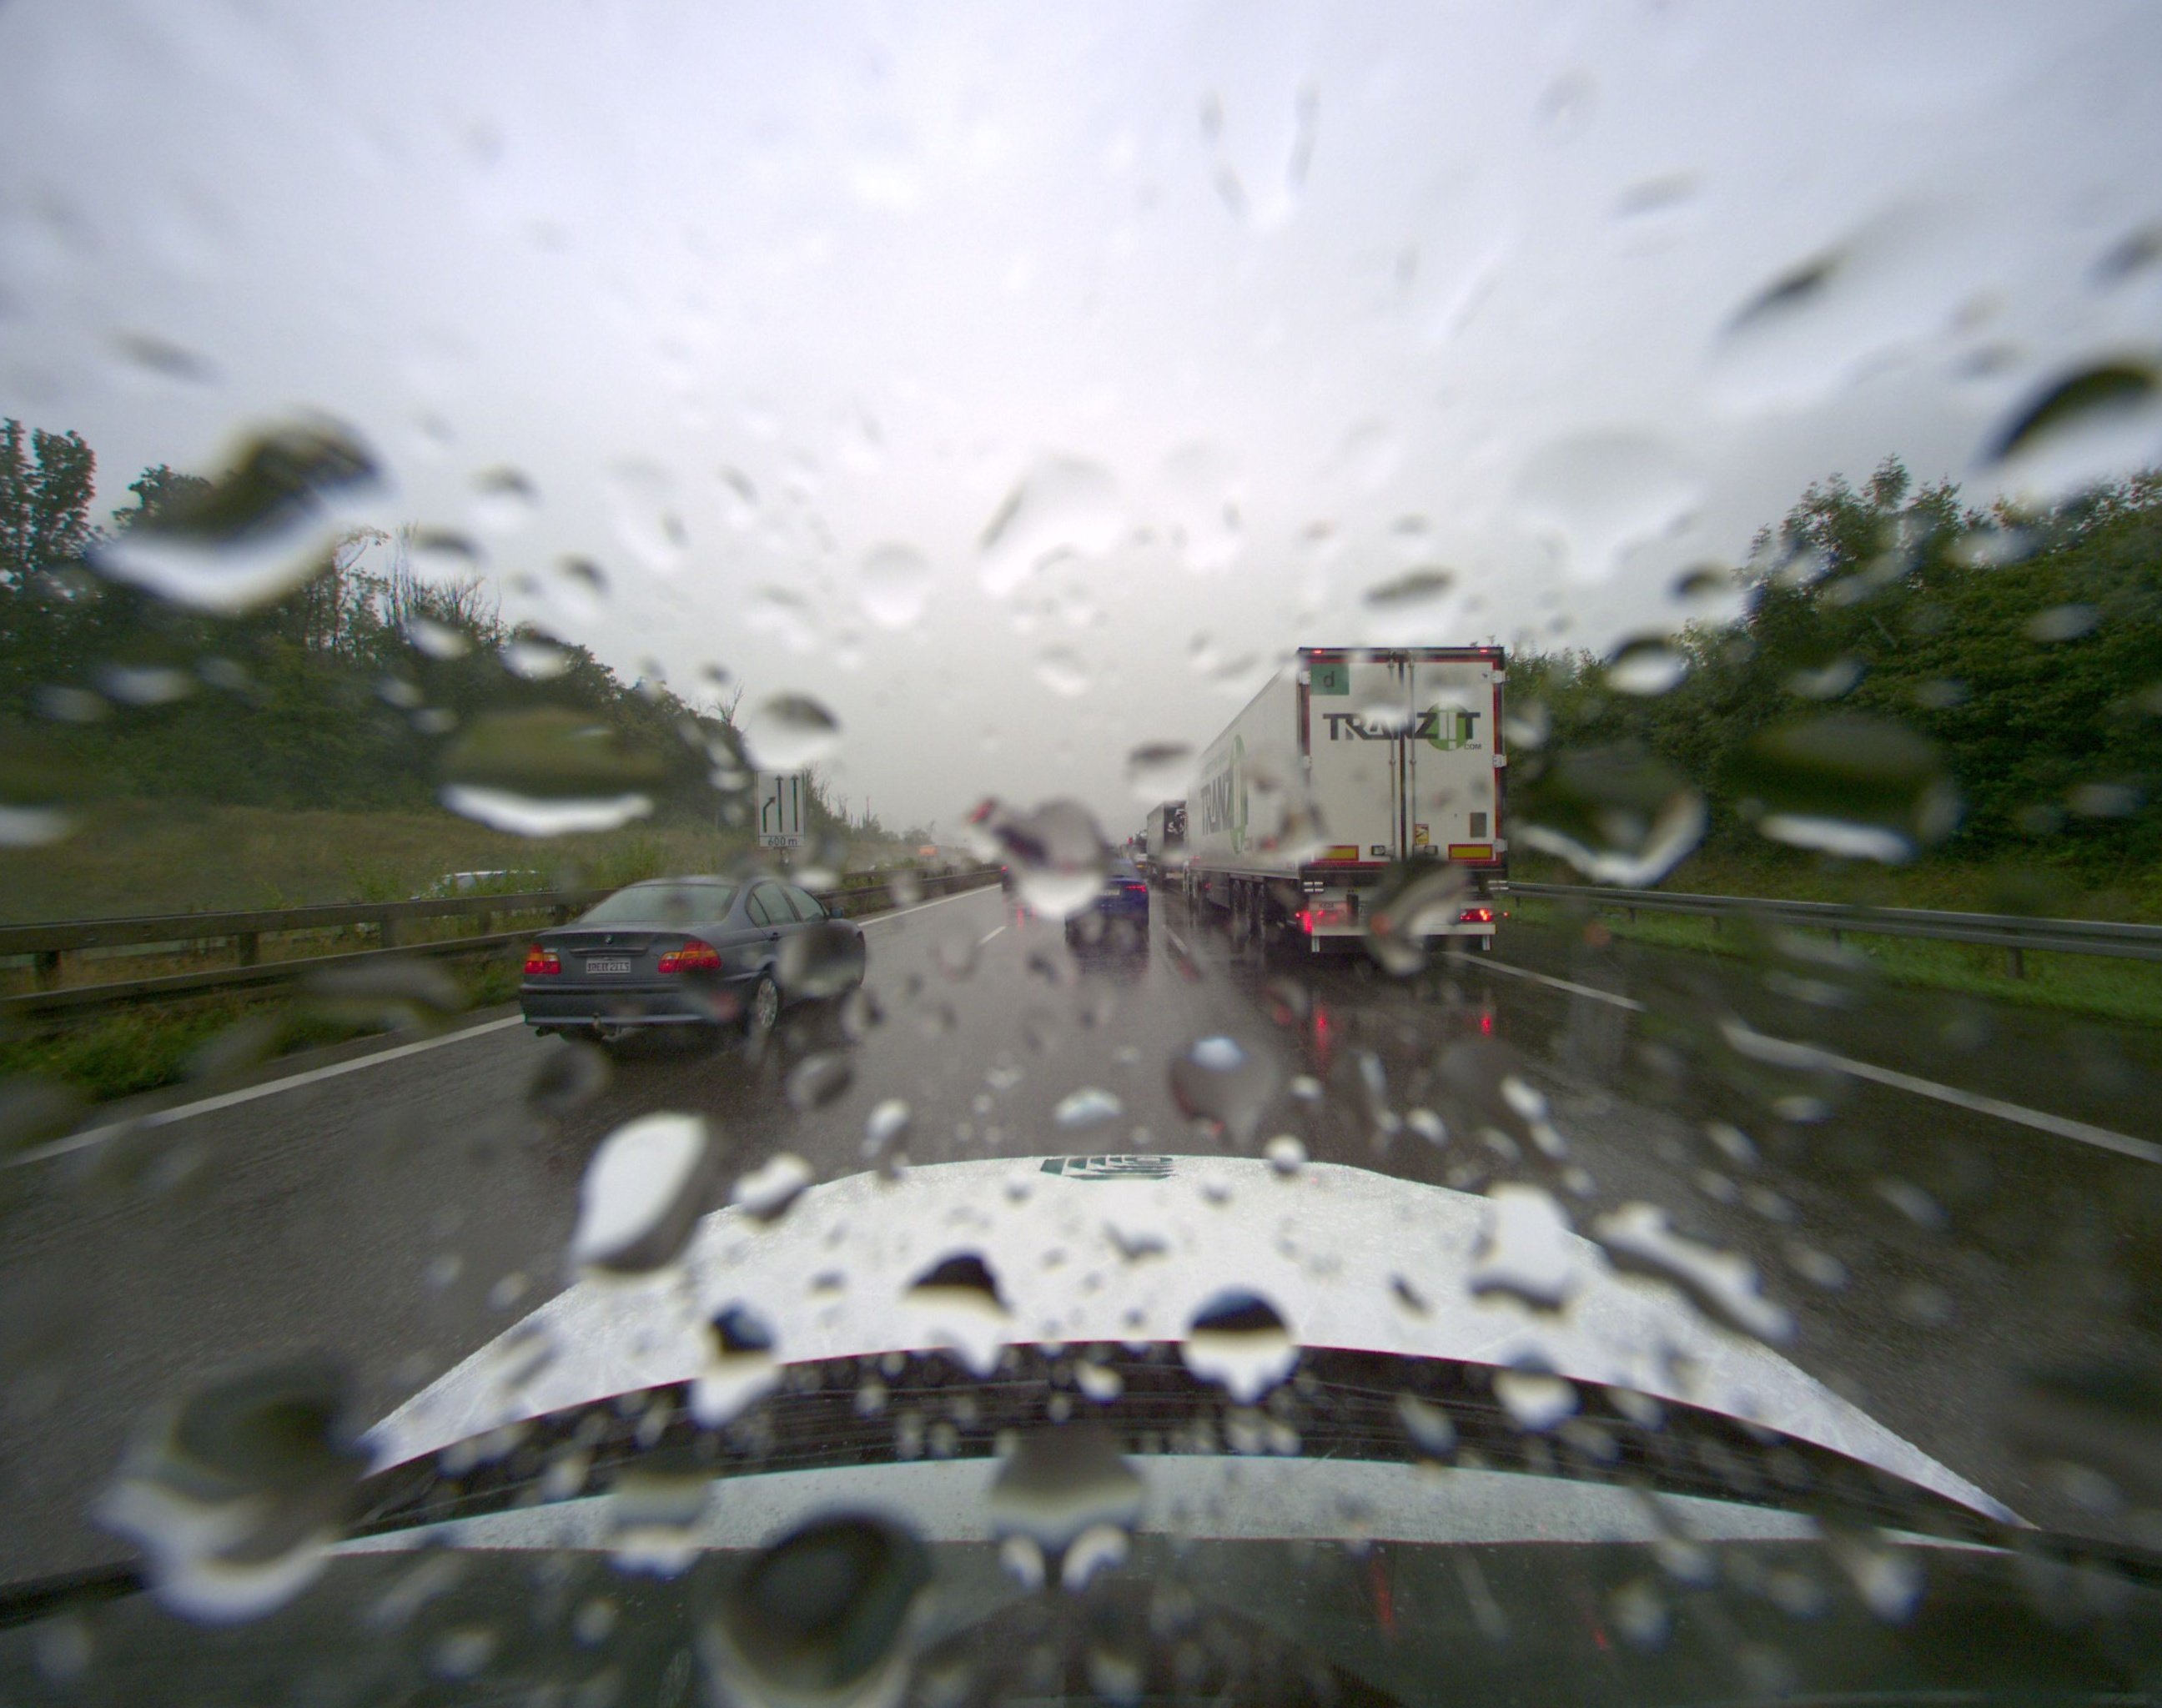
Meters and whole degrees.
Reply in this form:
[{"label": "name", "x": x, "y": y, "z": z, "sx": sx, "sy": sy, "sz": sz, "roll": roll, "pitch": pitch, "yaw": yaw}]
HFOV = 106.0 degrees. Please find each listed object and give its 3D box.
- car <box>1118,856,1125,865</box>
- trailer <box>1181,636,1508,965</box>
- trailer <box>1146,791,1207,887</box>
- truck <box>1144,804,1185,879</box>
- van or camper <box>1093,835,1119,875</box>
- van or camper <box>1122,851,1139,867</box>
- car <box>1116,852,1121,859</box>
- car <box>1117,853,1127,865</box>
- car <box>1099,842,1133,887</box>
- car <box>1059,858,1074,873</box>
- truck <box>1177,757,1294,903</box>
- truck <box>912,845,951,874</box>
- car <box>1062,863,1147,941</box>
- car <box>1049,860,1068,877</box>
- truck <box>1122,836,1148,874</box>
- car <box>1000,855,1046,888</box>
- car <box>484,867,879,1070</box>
[{"label": "car", "x": 7.027, "y": 1.142, "z": 141.608, "sx": 1.244, "sy": 1.512, "sz": 3.109, "roll": -2, "pitch": 1, "yaw": 2}, {"label": "trailer", "x": 4.157, "y": -0.698, "z": 17.383, "sx": 2.620, "sy": 4.013, "sz": 14.636, "roll": -1, "pitch": 0, "yaw": 2}, {"label": "trailer", "x": 4.634, "y": -0.671, "z": 41.459, "sx": 2.039, "sy": 4.176, "sz": 11.453, "roll": -1, "pitch": 0, "yaw": 2}, {"label": "truck", "x": 4.844, "y": -0.706, "z": 47.672, "sx": 2.039, "sy": 4.193, "sz": 4.002, "roll": -1, "pitch": 0, "yaw": 2}, {"label": "van or camper", "x": 1.817, "y": 0.064, "z": 59.459, "sx": 1.790, "sy": 2.806, "sz": 4.770, "roll": -1, "pitch": 0, "yaw": 2}, {"label": "van or camper", "x": 5.376, "y": 0.494, "z": 88.878, "sx": 1.765, "sy": 1.625, "sz": 4.486, "roll": -1, "pitch": 1, "yaw": 2}, {"label": "car", "x": 10.247, "y": 0.360, "z": 221.391, "sx": 1.443, "sy": 1.784, "sz": 3.411, "roll": -1, "pitch": 0, "yaw": 2}, {"label": "car", "x": 6.550, "y": 0.826, "z": 129.807, "sx": 1.443, "sy": 1.784, "sz": 3.411, "roll": -1, "pitch": 0, "yaw": 2}, {"label": "car", "x": 1.477, "y": 0.404, "z": 34.506, "sx": 1.332, "sy": 1.780, "sz": 3.323, "roll": -1, "pitch": 0, "yaw": 2}, {"label": "car", "x": -1.538, "y": 1.202, "z": 87.763, "sx": 1.434, "sy": 1.533, "sz": 3.323, "roll": -1, "pitch": 0, "yaw": 2}, {"label": "truck", "x": 4.387, "y": -0.642, "z": 24.090, "sx": 2.620, "sy": 3.827, "sz": 4.793, "roll": -1, "pitch": 0, "yaw": 2}, {"label": "truck", "x": -18.404, "y": 0.594, "z": 100.870, "sx": 2.916, "sy": 3.281, "sz": 9.256, "roll": -1, "pitch": 1, "yaw": 1}, {"label": "car", "x": 0.557, "y": 0.965, "z": 17.956, "sx": 1.629, "sy": 1.445, "sz": 4.003, "roll": -1, "pitch": 0, "yaw": 3}, {"label": "car", "x": -1.962, "y": 1.234, "z": 70.979, "sx": 1.434, "sy": 1.420, "sz": 3.323, "roll": -1, "pitch": 0, "yaw": 2}, {"label": "truck", "x": 5.141, "y": 0.009, "z": 78.398, "sx": 1.987, "sy": 3.421, "sz": 8.033, "roll": -1, "pitch": 1, "yaw": 1}, {"label": "car", "x": -2.806, "y": 0.828, "z": 40.075, "sx": 1.715, "sy": 1.523, "sz": 4.003, "roll": -1, "pitch": 0, "yaw": 3}, {"label": "car", "x": -3.481, "y": 0.883, "z": 8.127, "sx": 1.711, "sy": 1.400, "sz": 4.231, "roll": -1, "pitch": 0, "yaw": 2}]
